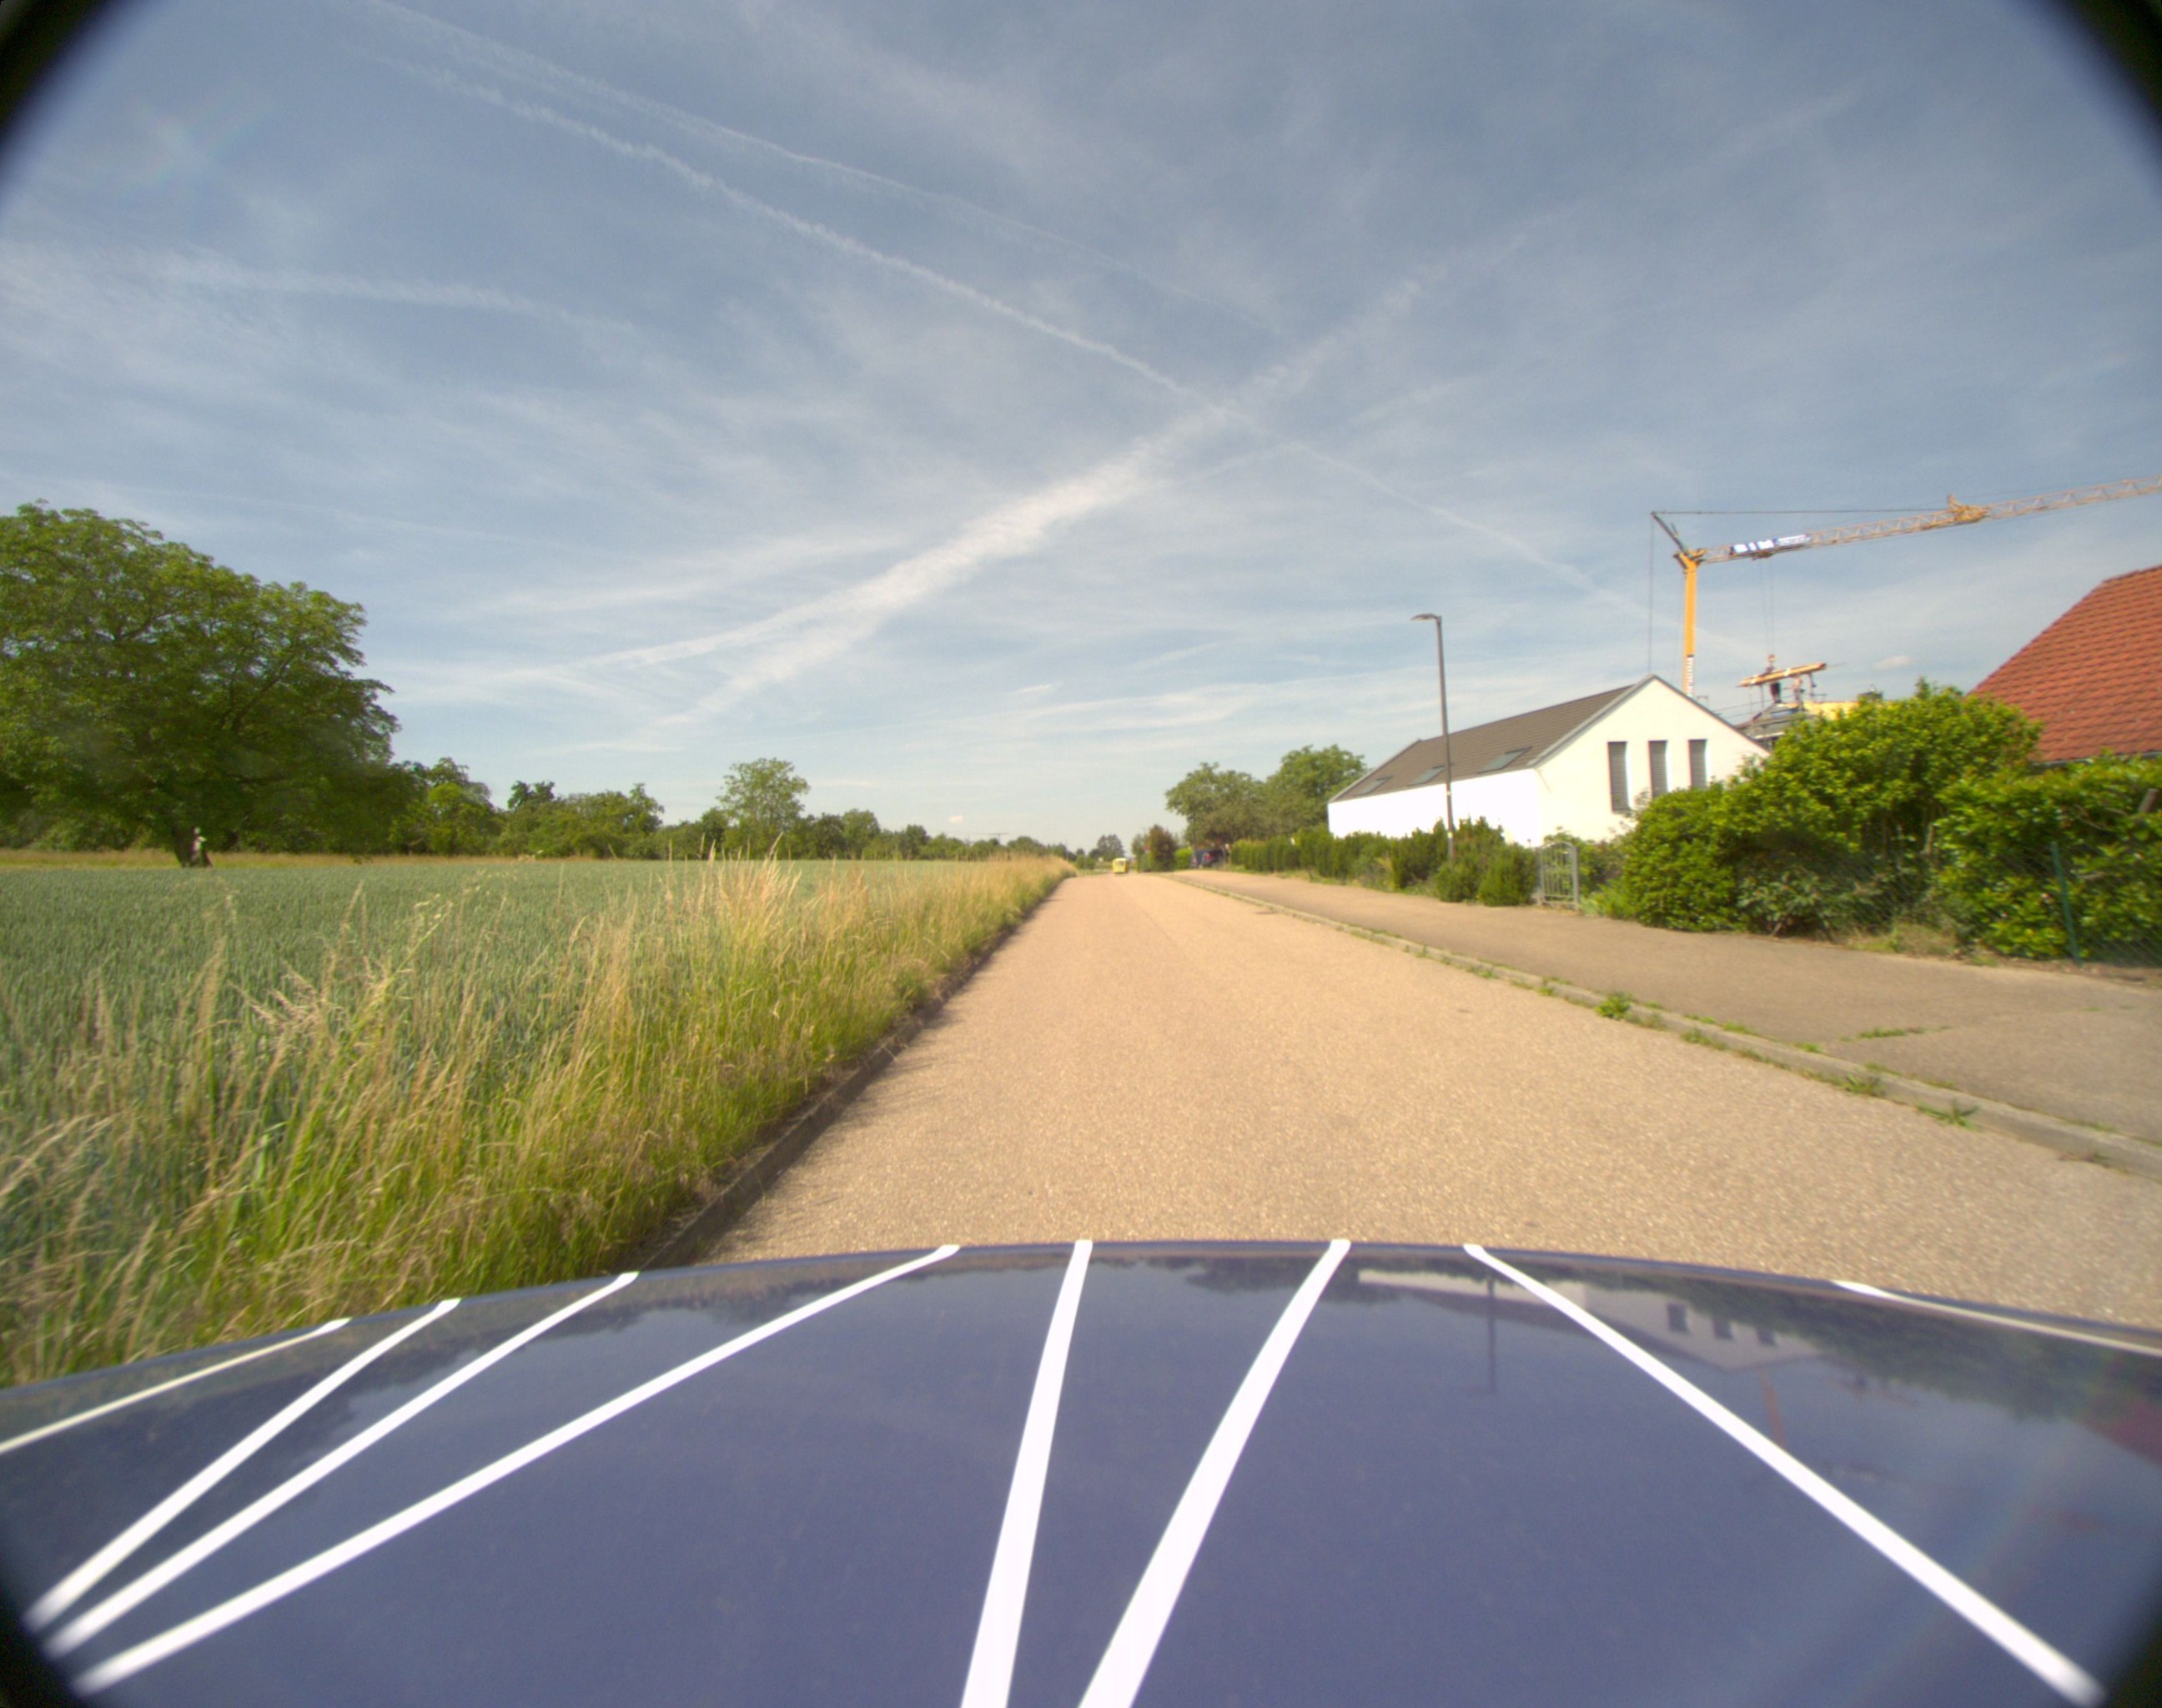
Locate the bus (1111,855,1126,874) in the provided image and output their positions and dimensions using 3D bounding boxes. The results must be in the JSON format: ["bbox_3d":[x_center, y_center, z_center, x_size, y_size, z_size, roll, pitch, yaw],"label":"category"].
[{"bbox_3d":[8.064,2.180,162.867,3.066,3.557,9.456,-2,1,4],"label":"bus"}]

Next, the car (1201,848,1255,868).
[{"bbox_3d":[11.277,0.322,58.397,3.885,1.314,1.801,-3,0,5],"label":"car"}]

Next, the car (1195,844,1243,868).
[{"bbox_3d":[12.029,0.176,66.510,3.885,1.802,1.801,-4,0,5],"label":"car"}]
